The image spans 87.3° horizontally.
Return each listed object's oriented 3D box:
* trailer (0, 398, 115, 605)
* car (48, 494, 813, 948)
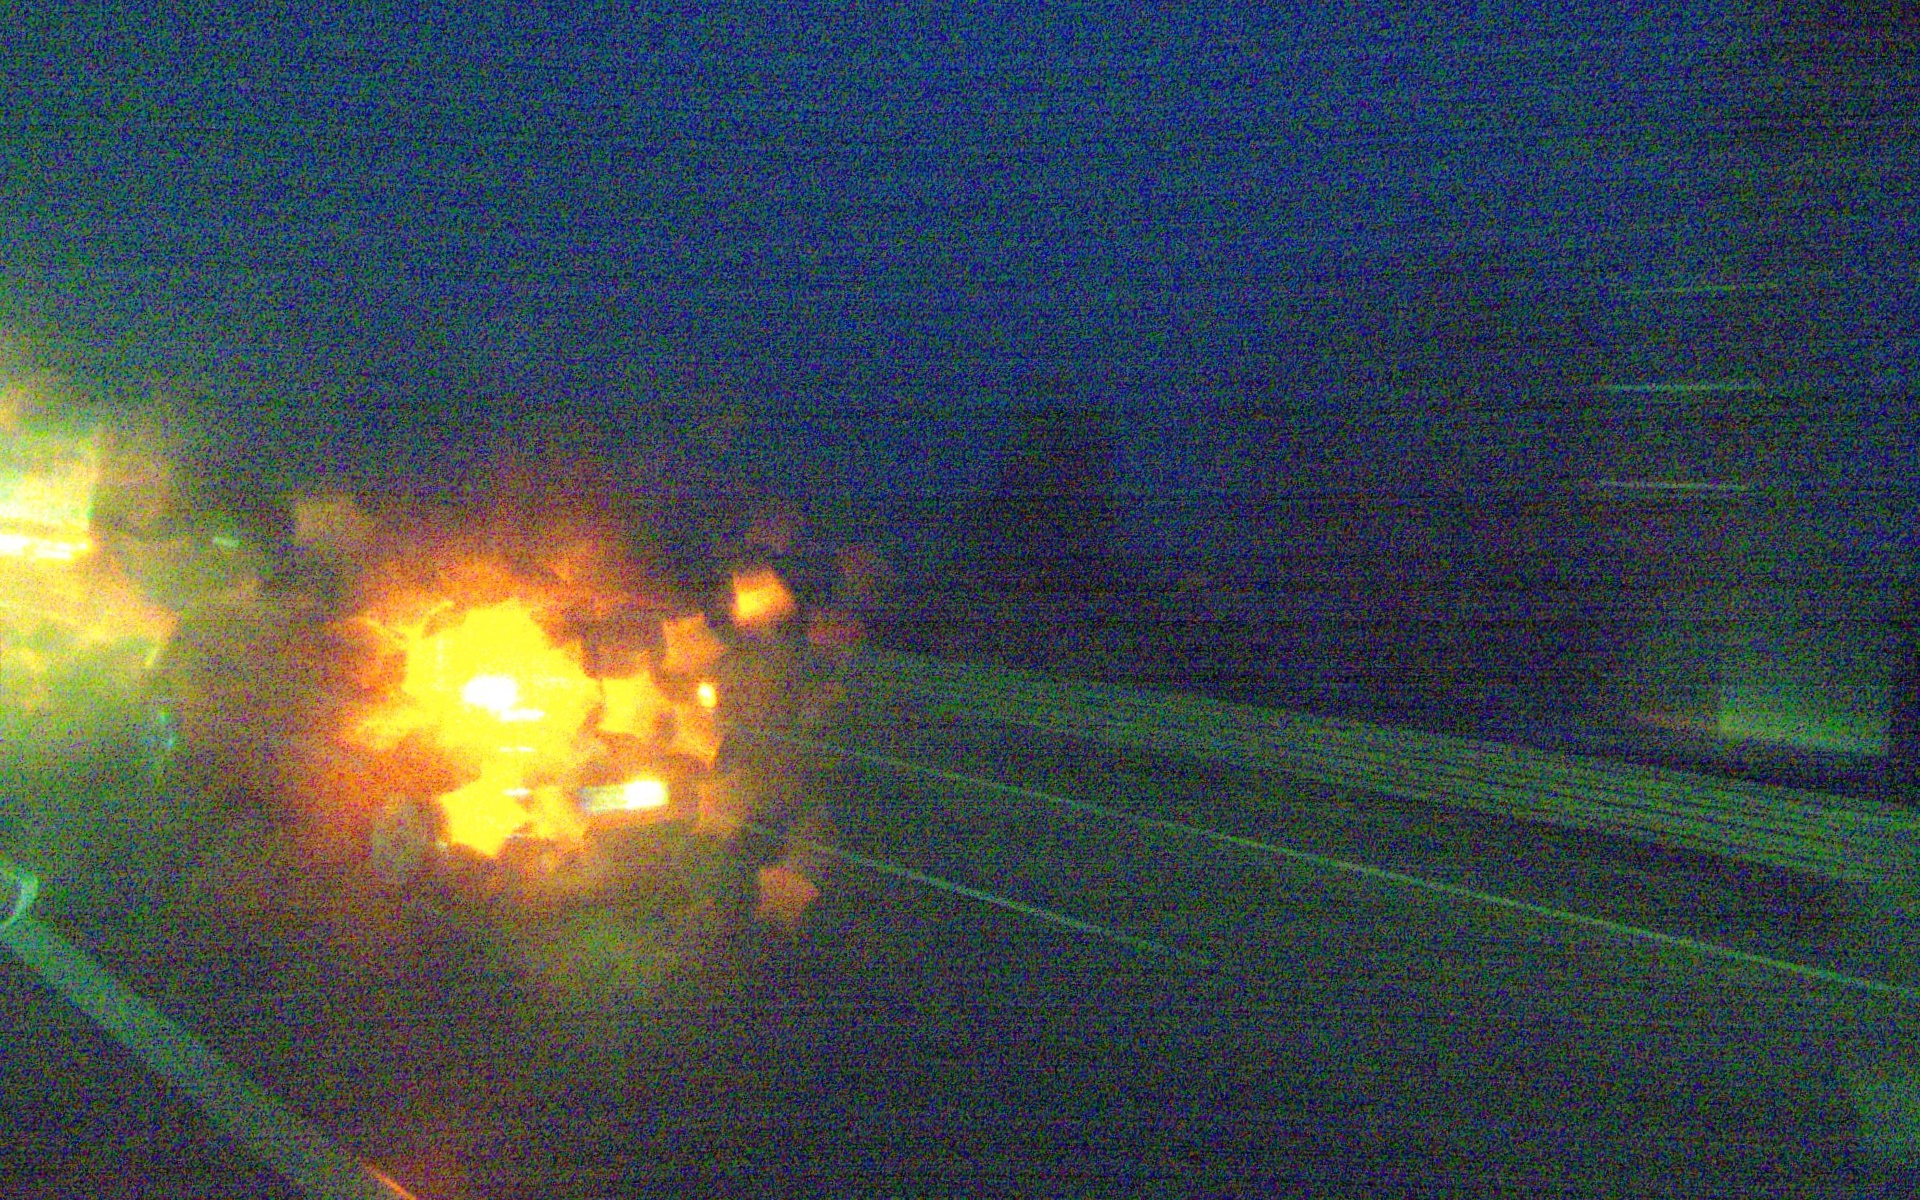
[{"bbox_3d":[-25.707,-2.727,24.871,14.248,4.160,2.905,6,1,32],"label":"trailer"},{"bbox_3d":[-3.184,0.412,5.748,4.419,1.594,1.743,6,-1,32],"label":"car"}]
